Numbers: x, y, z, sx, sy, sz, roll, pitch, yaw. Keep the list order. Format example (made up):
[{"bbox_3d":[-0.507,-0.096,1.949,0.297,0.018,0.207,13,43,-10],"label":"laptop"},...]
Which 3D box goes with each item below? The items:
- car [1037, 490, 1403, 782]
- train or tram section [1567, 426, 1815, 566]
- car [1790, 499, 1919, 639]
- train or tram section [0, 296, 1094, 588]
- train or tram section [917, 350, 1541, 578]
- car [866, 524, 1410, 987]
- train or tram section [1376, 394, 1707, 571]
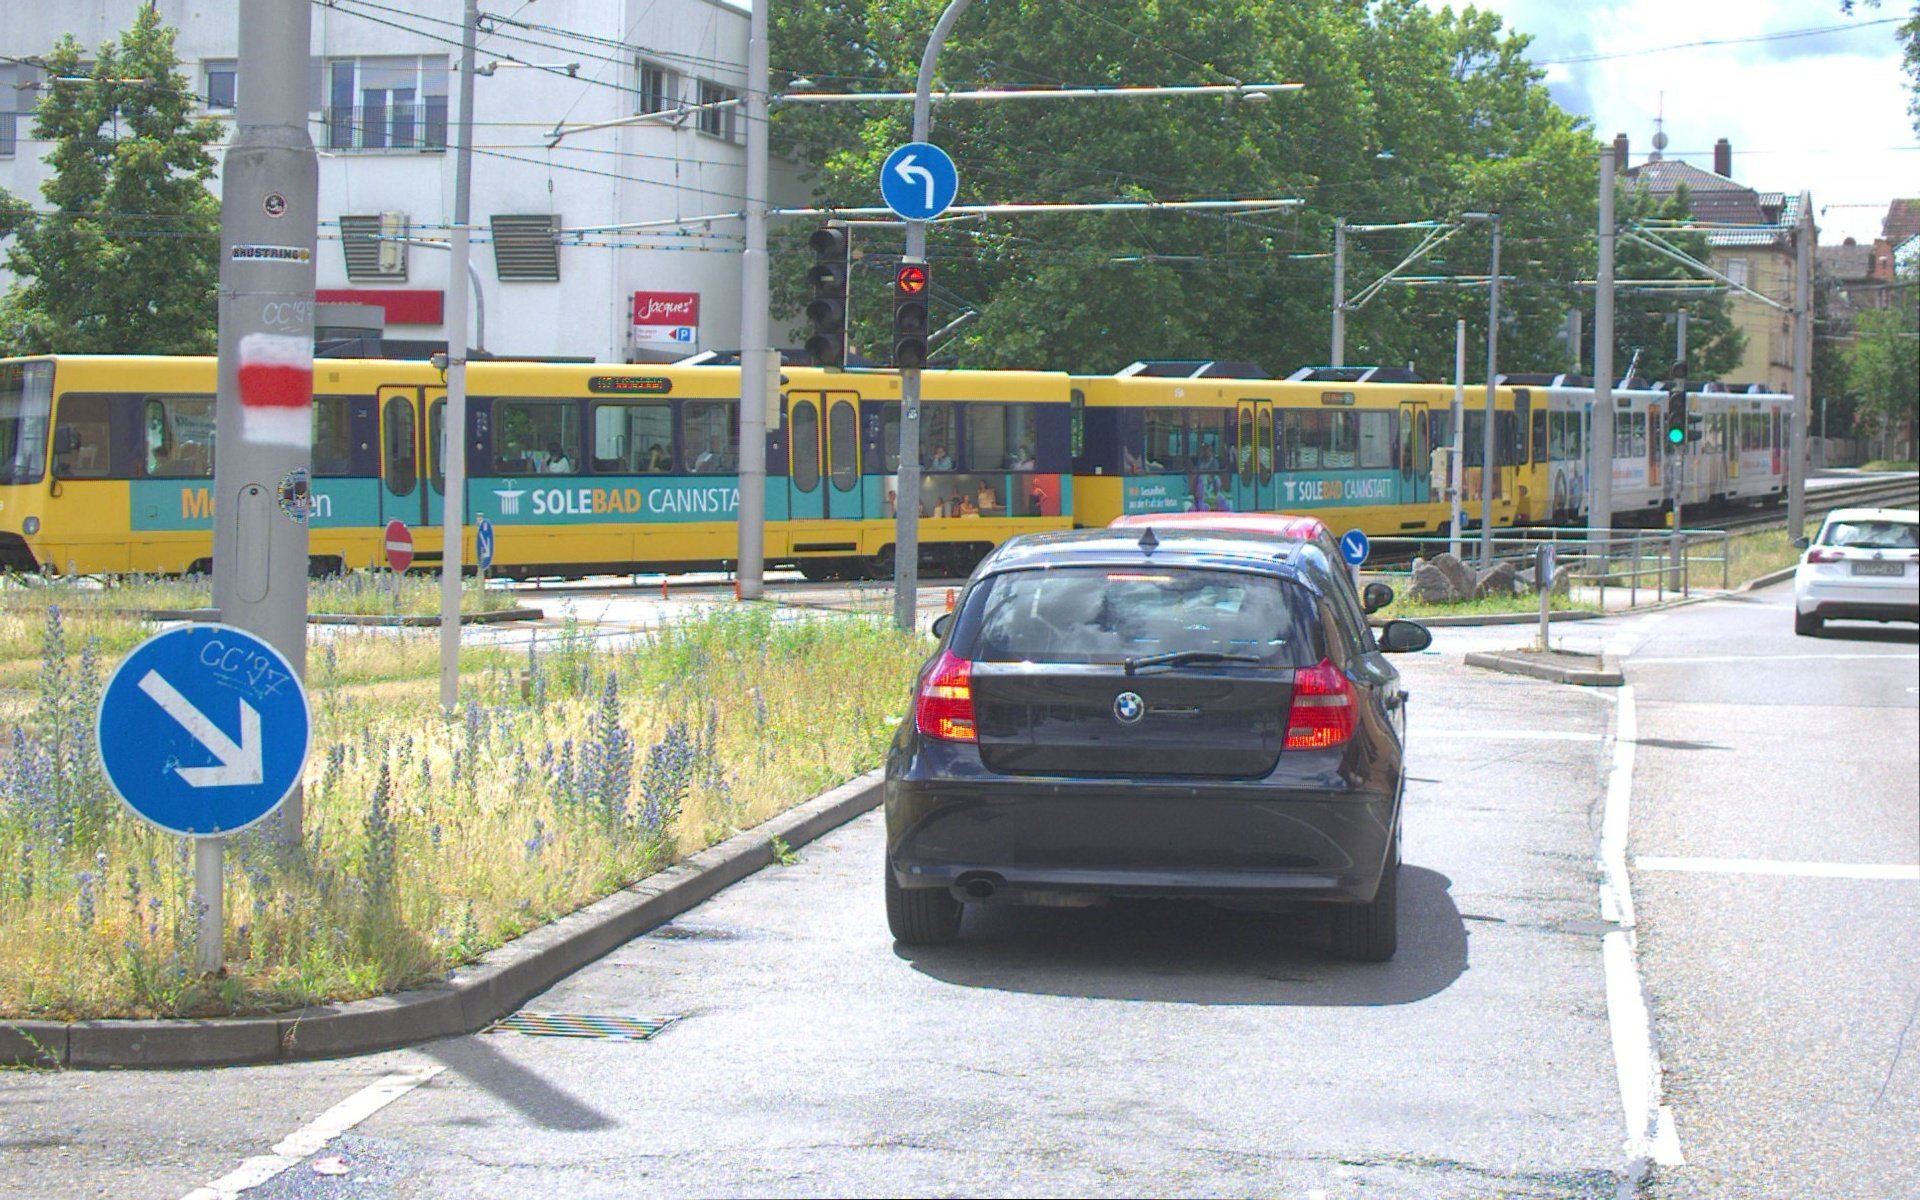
[{"bbox_3d":[1.563,0.160,19.365,1.626,1.468,3.998,0,1,11],"label":"car"},{"bbox_3d":[22.305,-2.930,103.464,3.753,3.801,20.028,0,1,22],"label":"train or tram section"},{"bbox_3d":[10.737,-0.386,40.263,1.816,1.463,3.998,5,3,14],"label":"car"},{"bbox_3d":[-6.280,-2.191,53.397,18.840,3.905,3.760,0,1,-39],"label":"train or tram section"},{"bbox_3d":[5.963,-2.370,67.289,3.755,3.816,20.115,0,1,30],"label":"train or tram section"},{"bbox_3d":[0.623,0.467,12.757,1.701,1.447,4.000,0,1,2],"label":"car"},{"bbox_3d":[14.809,-2.654,85.036,3.753,3.866,20.612,0,1,22],"label":"train or tram section"}]
